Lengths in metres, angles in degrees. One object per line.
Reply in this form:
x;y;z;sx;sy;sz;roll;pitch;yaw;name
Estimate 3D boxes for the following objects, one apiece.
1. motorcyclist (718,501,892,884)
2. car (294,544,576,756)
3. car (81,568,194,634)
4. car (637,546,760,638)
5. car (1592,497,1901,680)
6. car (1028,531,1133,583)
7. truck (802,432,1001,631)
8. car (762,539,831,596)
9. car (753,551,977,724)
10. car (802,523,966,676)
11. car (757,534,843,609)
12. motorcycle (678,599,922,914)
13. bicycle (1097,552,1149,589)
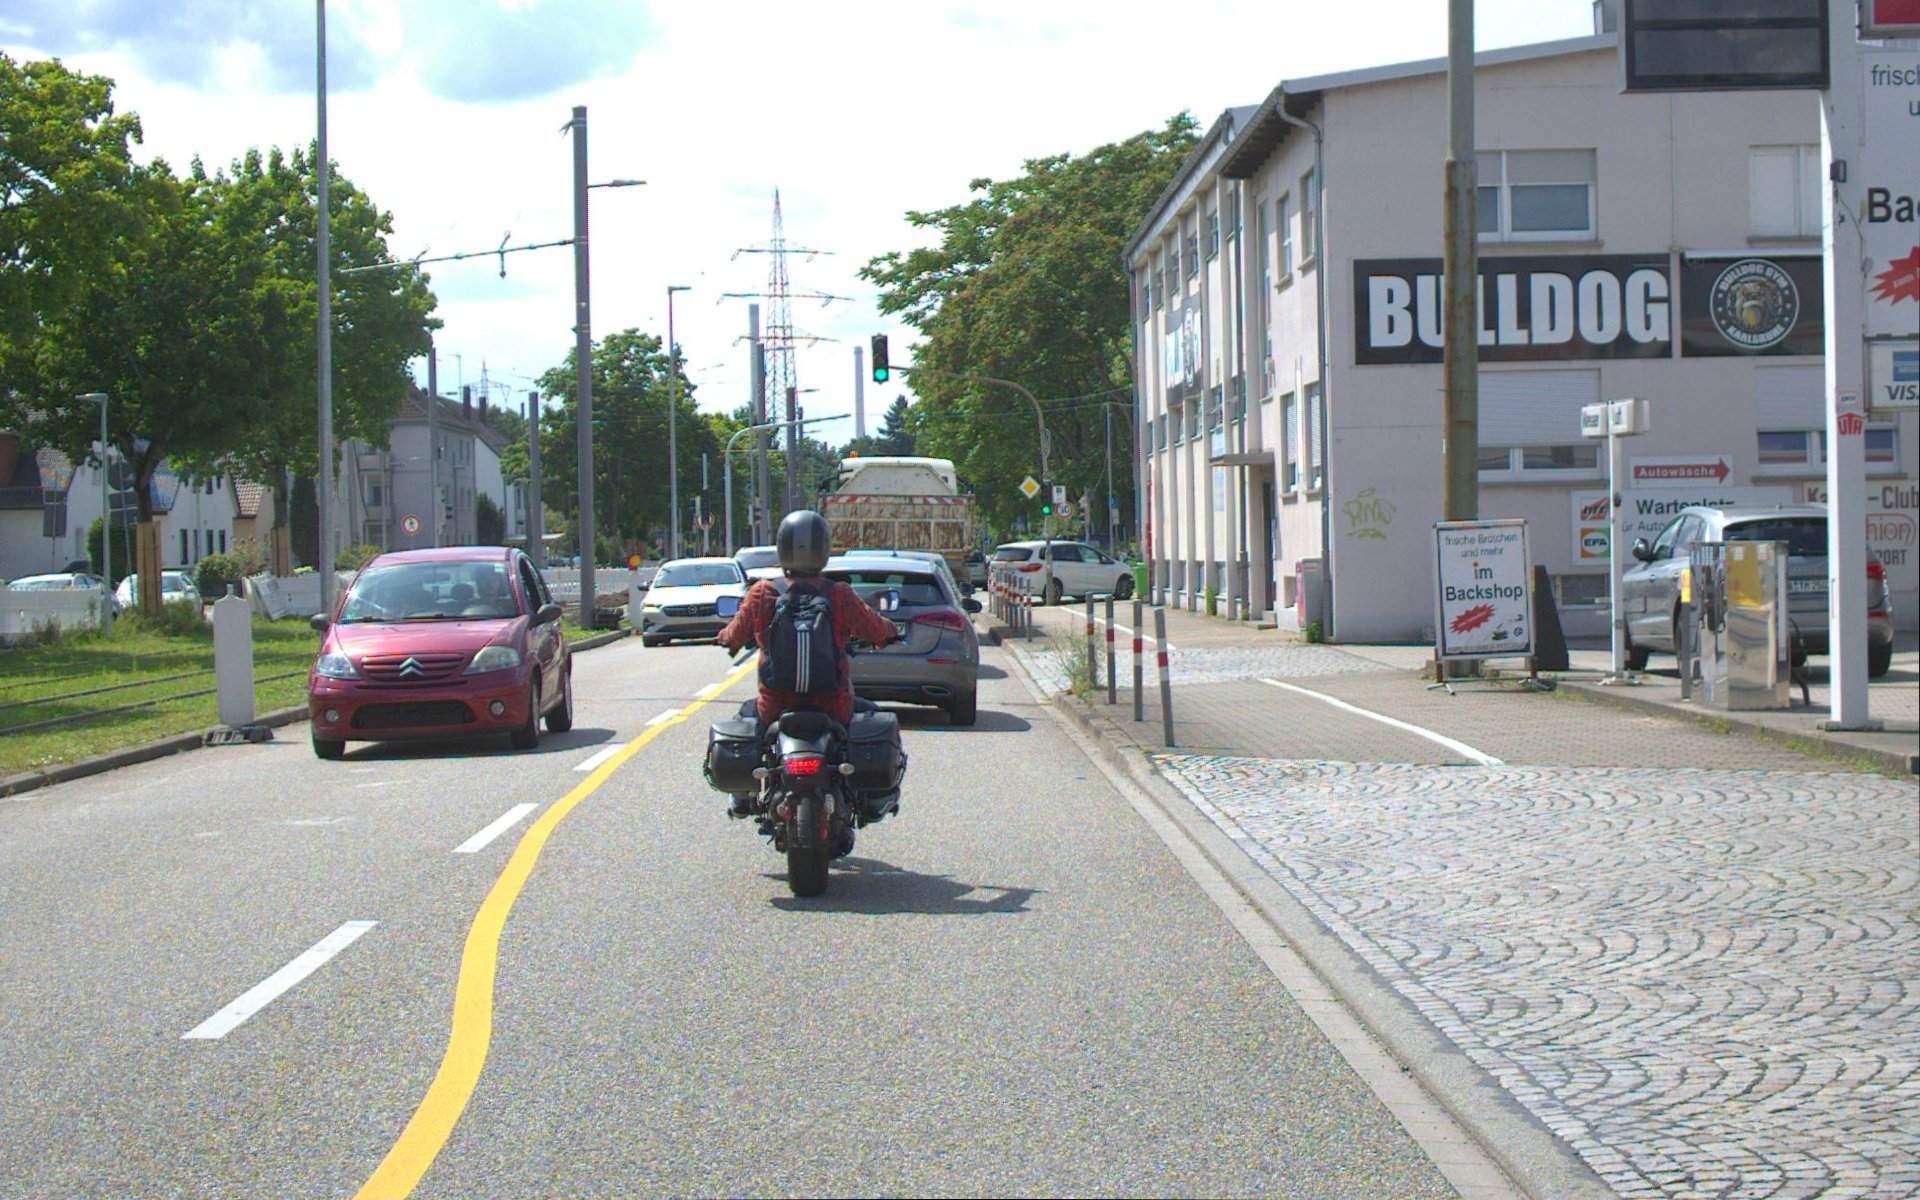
-0.660;0.388;14.800;0.698;1.599;0.692;1;0;0;motorcyclist
-3.919;0.325;26.181;1.578;1.464;3.721;-1;1;-1;car
-17.371;0.015;72.730;1.521;1.349;3.621;1;0;0;car
-4.396;-0.144;58.405;1.821;1.440;4.484;-2;0;-1;car
7.433;-0.135;32.961;1.945;1.619;4.616;0;1;1;car
4.690;-1.660;132.992;3.989;1.919;1.802;1;0;-45;car
-0.898;-1.128;59.398;2.967;3.162;7.763;1;0;2;truck
-4.435;-0.874;93.825;1.692;1.408;3.860;-4;0;-1;car
-0.915;0.286;30.643;1.731;1.399;4.087;1;1;-5;car
-0.904;-0.062;42.811;1.901;1.706;4.720;-1;2;0;car
-3.714;-0.666;80.611;1.824;1.660;4.462;-2;0;-1;car
-0.651;0.625;14.922;0.942;1.196;2.472;1;1;0;motorcycle
5.384;-0.971;113.533;1.708;1.168;0.438;1;0;5;bicycle
